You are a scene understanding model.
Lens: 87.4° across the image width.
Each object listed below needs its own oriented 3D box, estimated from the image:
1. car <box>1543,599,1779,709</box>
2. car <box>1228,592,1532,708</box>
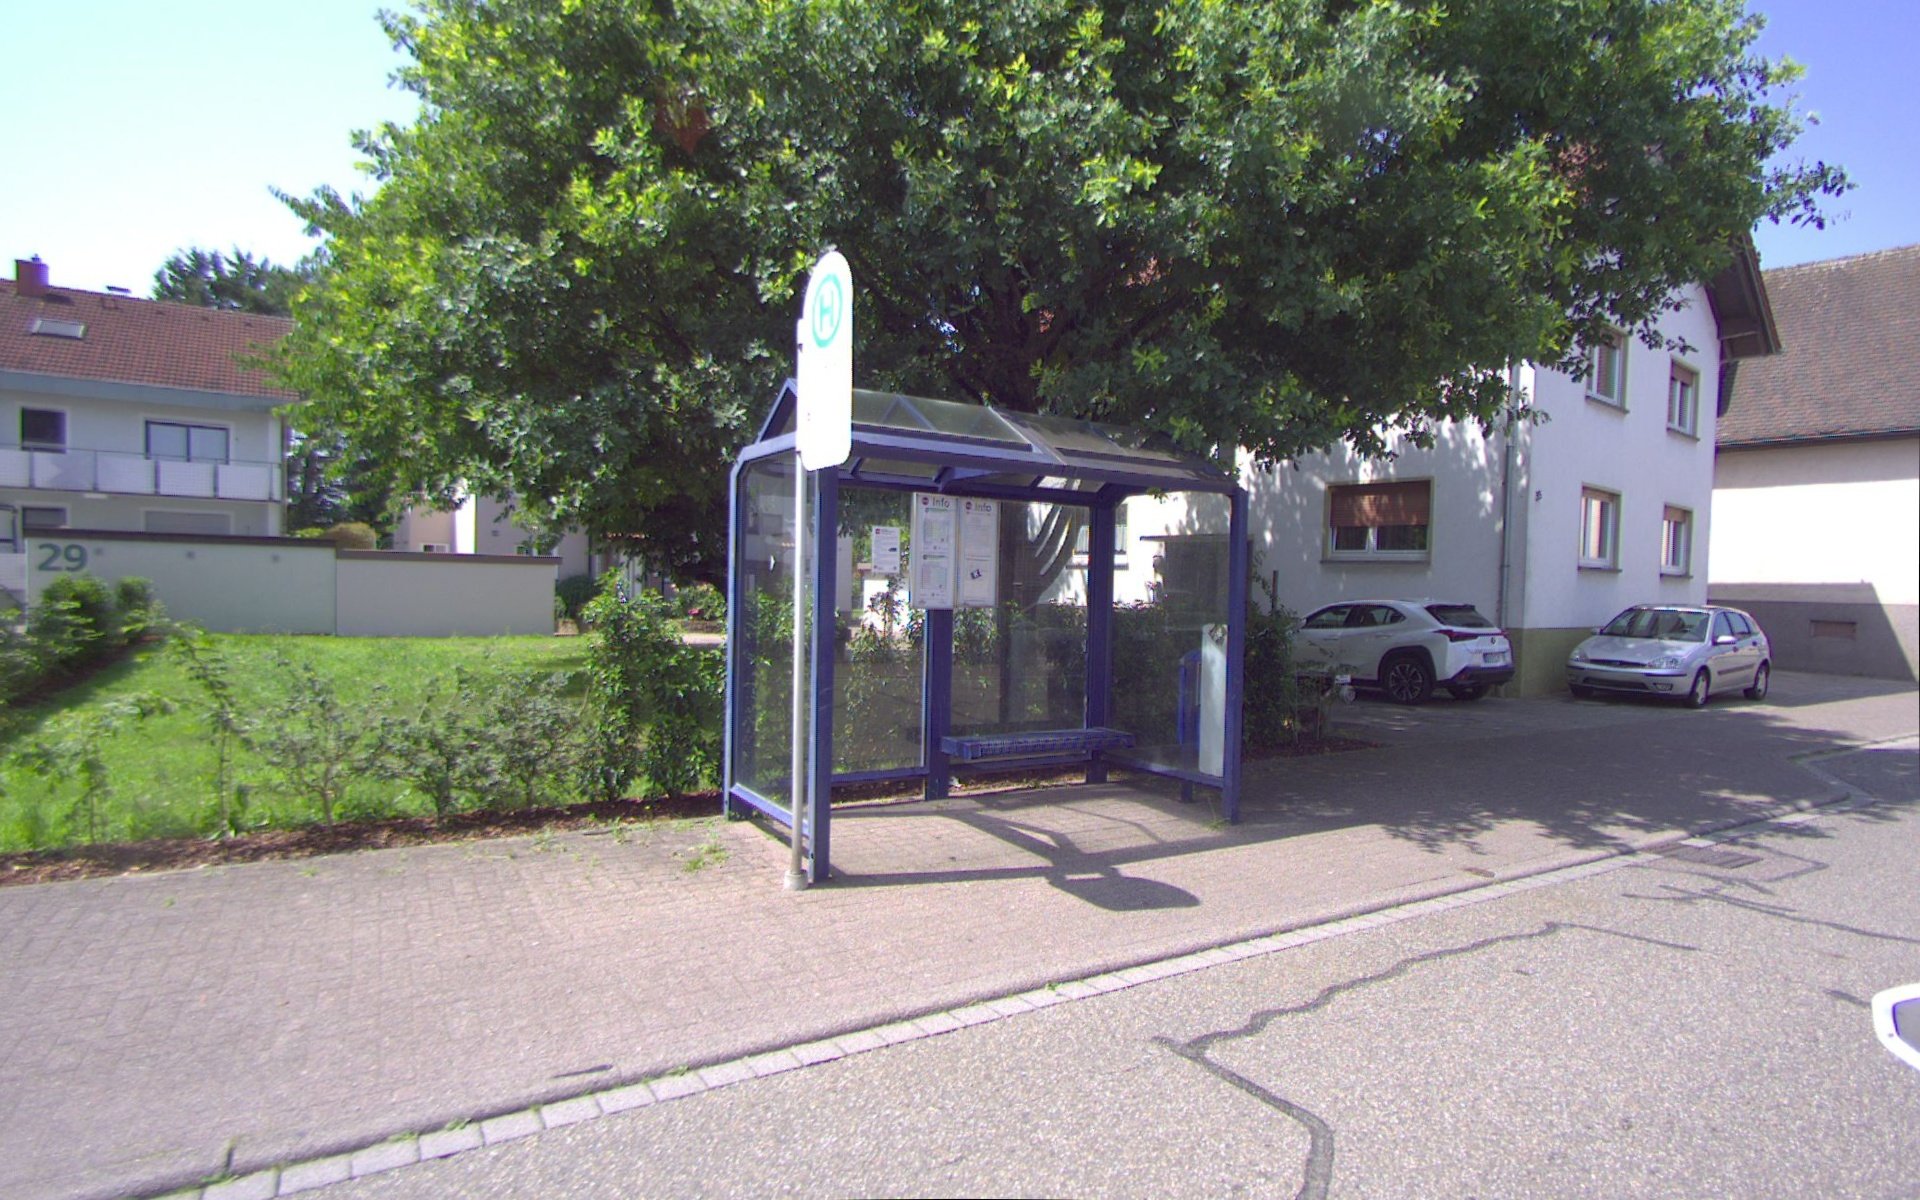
[{"bbox_3d":[11.000,0.752,15.685,4.016,1.454,1.766,0,2,-36],"label":"car"},{"bbox_3d":[6.373,0.689,15.691,1.755,1.559,4.135,0,0,-33],"label":"car"}]
